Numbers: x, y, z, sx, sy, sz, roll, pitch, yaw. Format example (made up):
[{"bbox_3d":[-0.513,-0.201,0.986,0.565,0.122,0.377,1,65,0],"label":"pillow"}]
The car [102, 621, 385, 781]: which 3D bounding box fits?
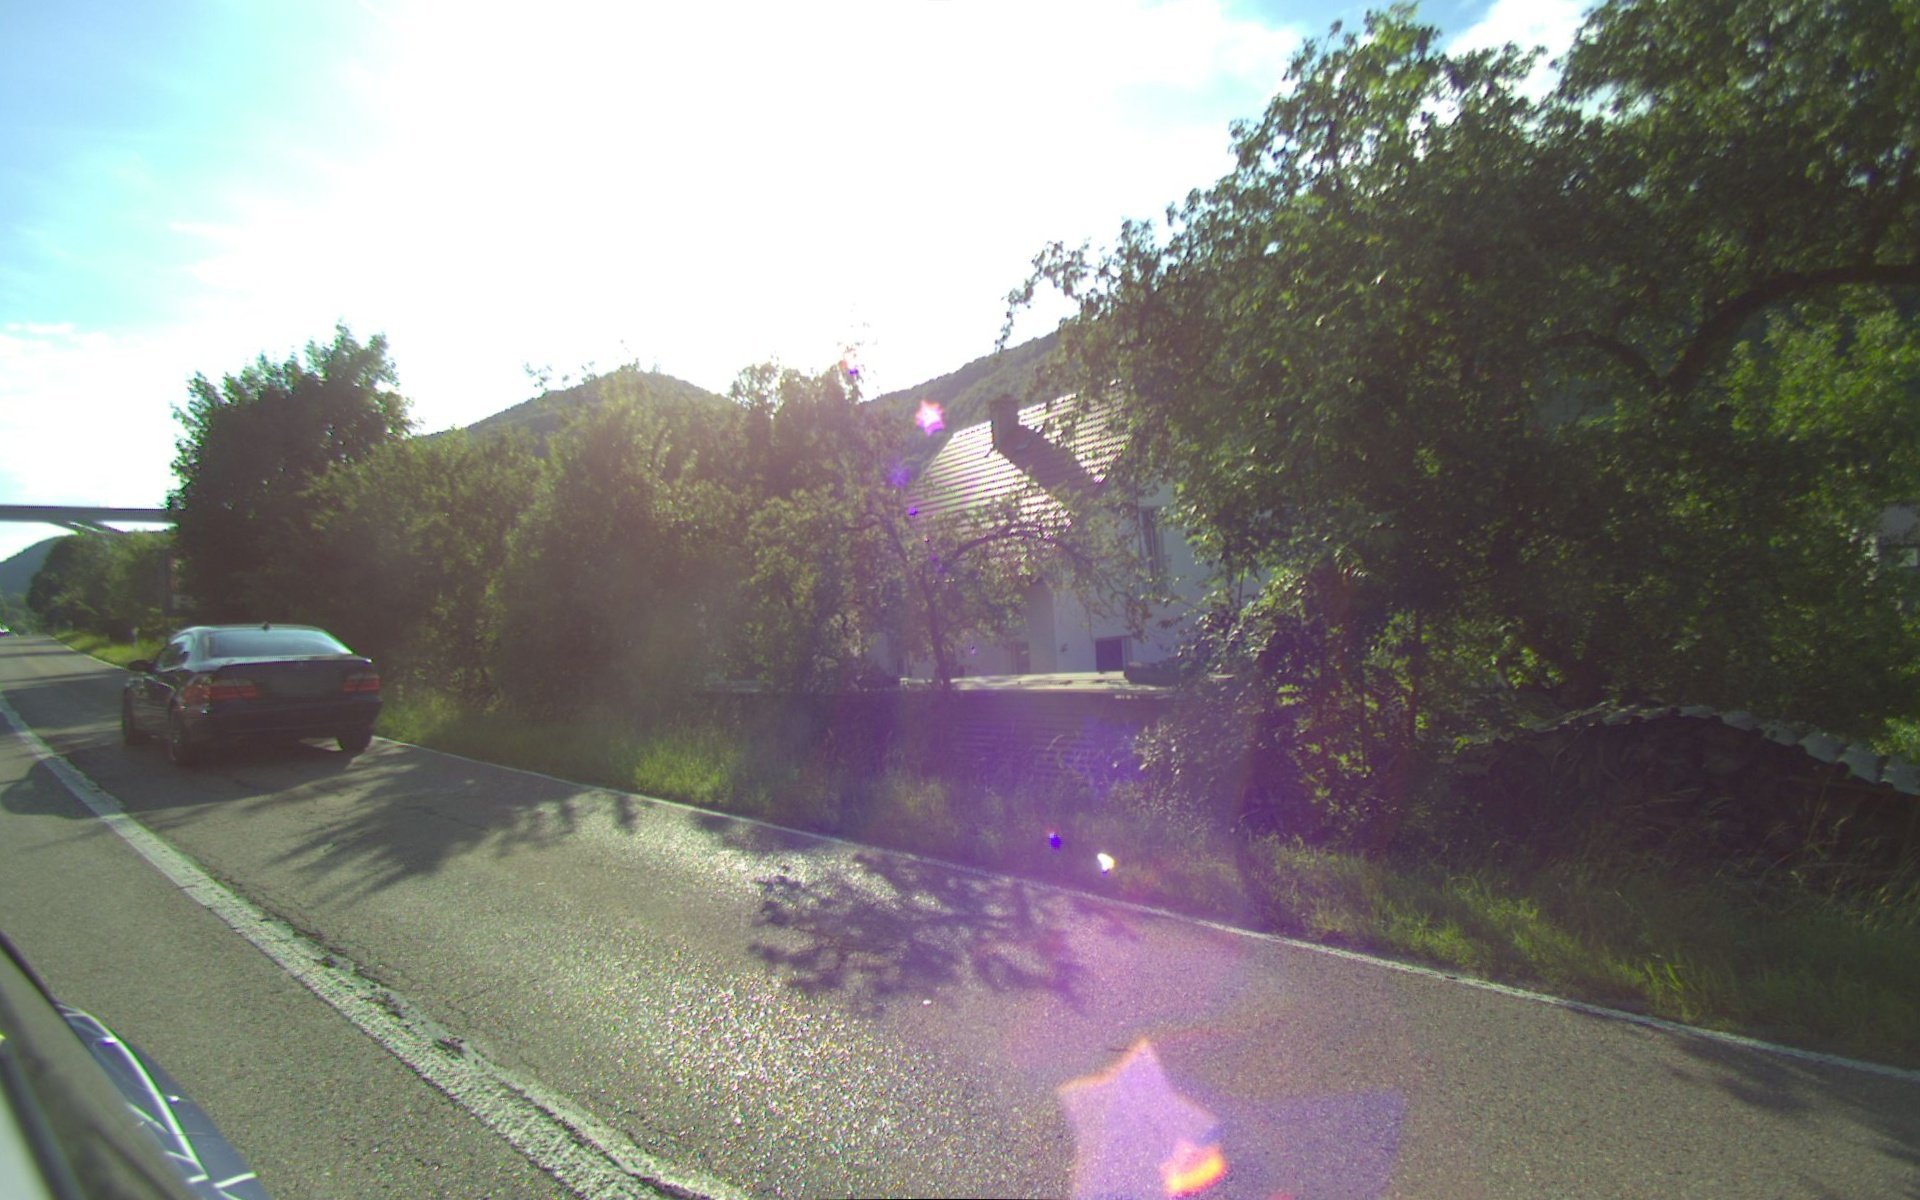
[{"bbox_3d":[-7.893,0.942,10.994,4.201,1.364,1.578,-1,0,41],"label":"car"}]
